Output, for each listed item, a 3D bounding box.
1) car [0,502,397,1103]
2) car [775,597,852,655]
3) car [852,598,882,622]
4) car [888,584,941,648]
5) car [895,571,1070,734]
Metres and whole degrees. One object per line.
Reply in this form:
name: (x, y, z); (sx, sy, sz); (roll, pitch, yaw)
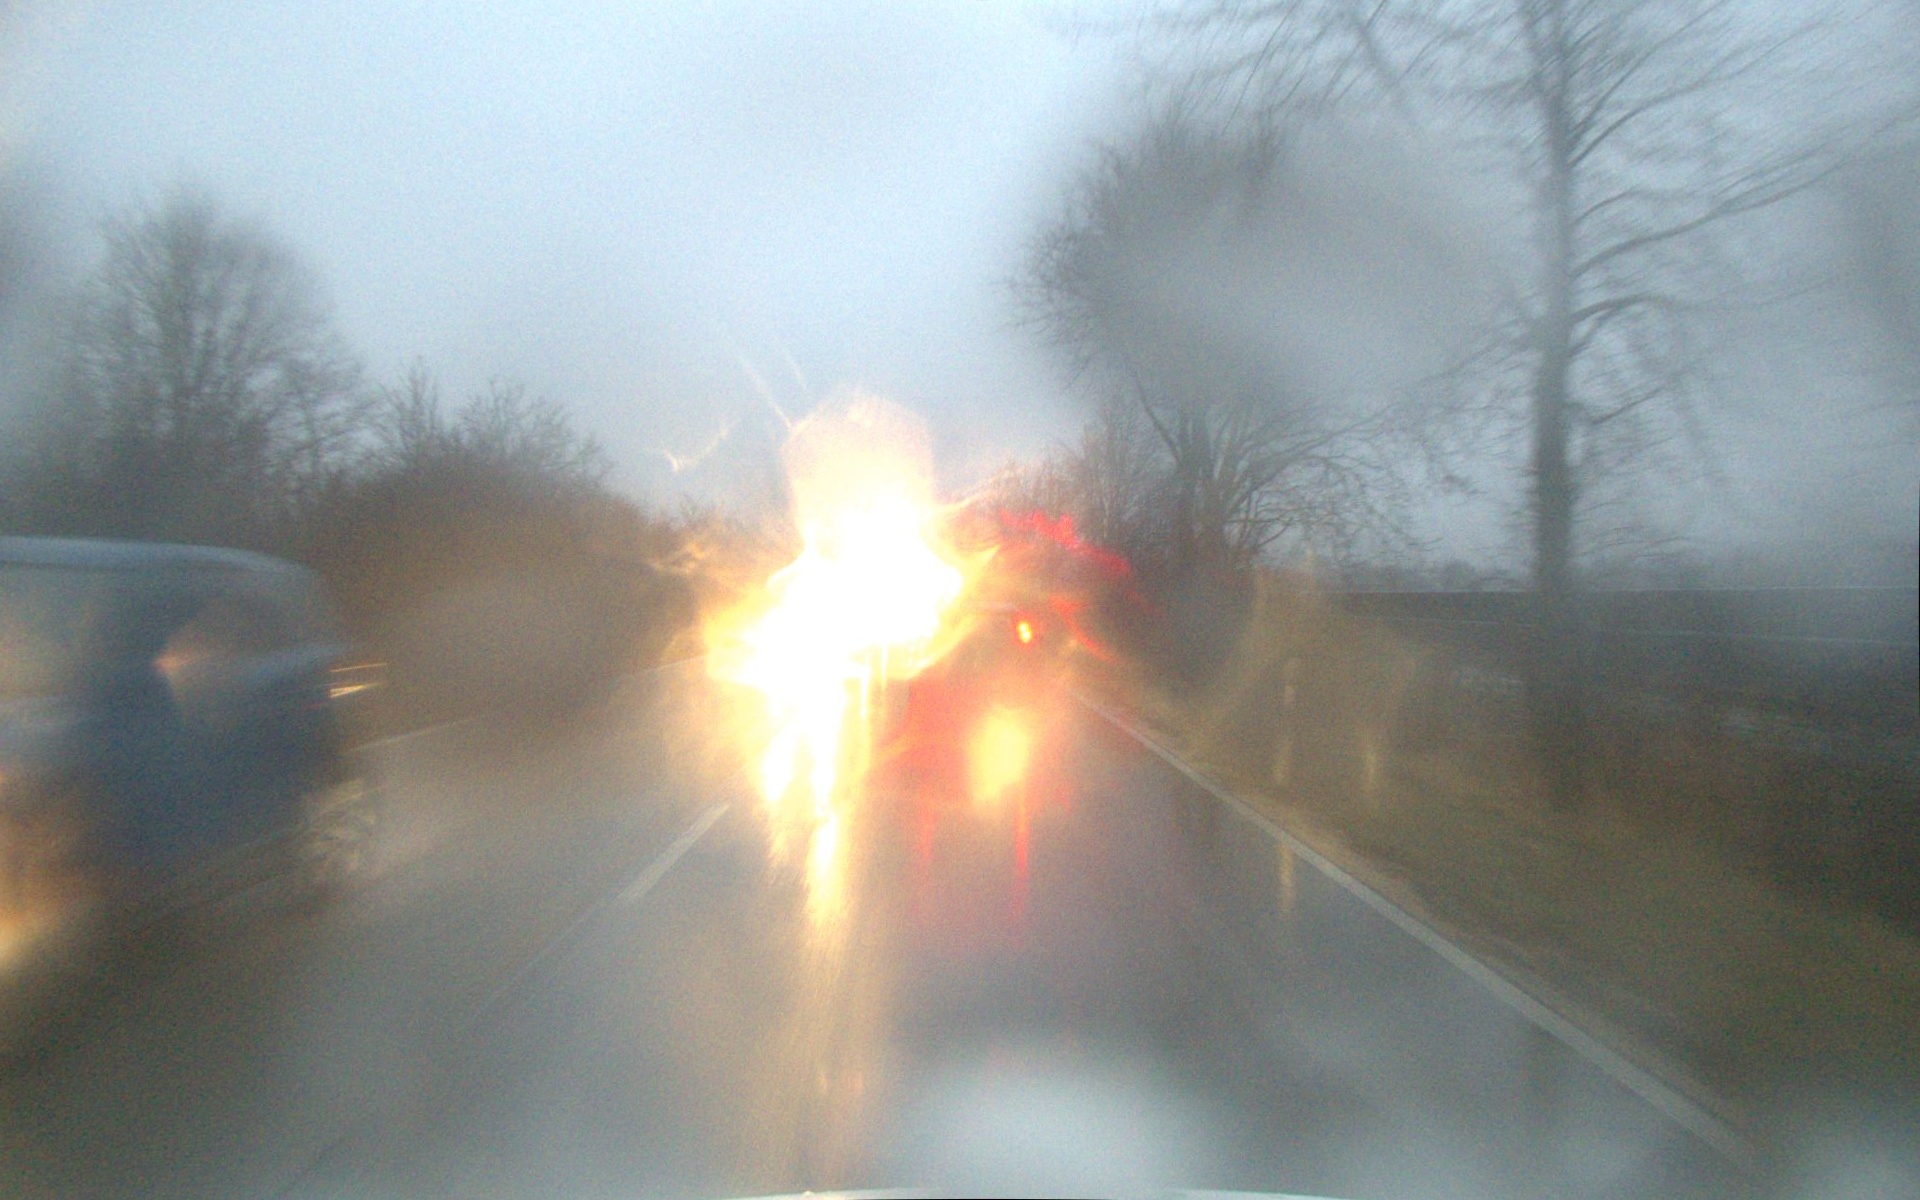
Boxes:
car: (-3.663, 0.553, 6.044); (1.883, 1.683, 4.103); (1, 0, -2)
car: (-3.940, 0.675, 44.895); (1.780, 1.466, 3.455); (1, 0, -1)
car: (-5.905, 0.611, 104.953); (1.715, 1.500, 3.890); (1, 0, -1)
car: (-1.455, 0.494, 52.213); (1.543, 1.907, 3.707); (1, 0, -2)
car: (0.274, 0.598, 20.951); (1.952, 1.816, 4.000); (1, 0, 0)
